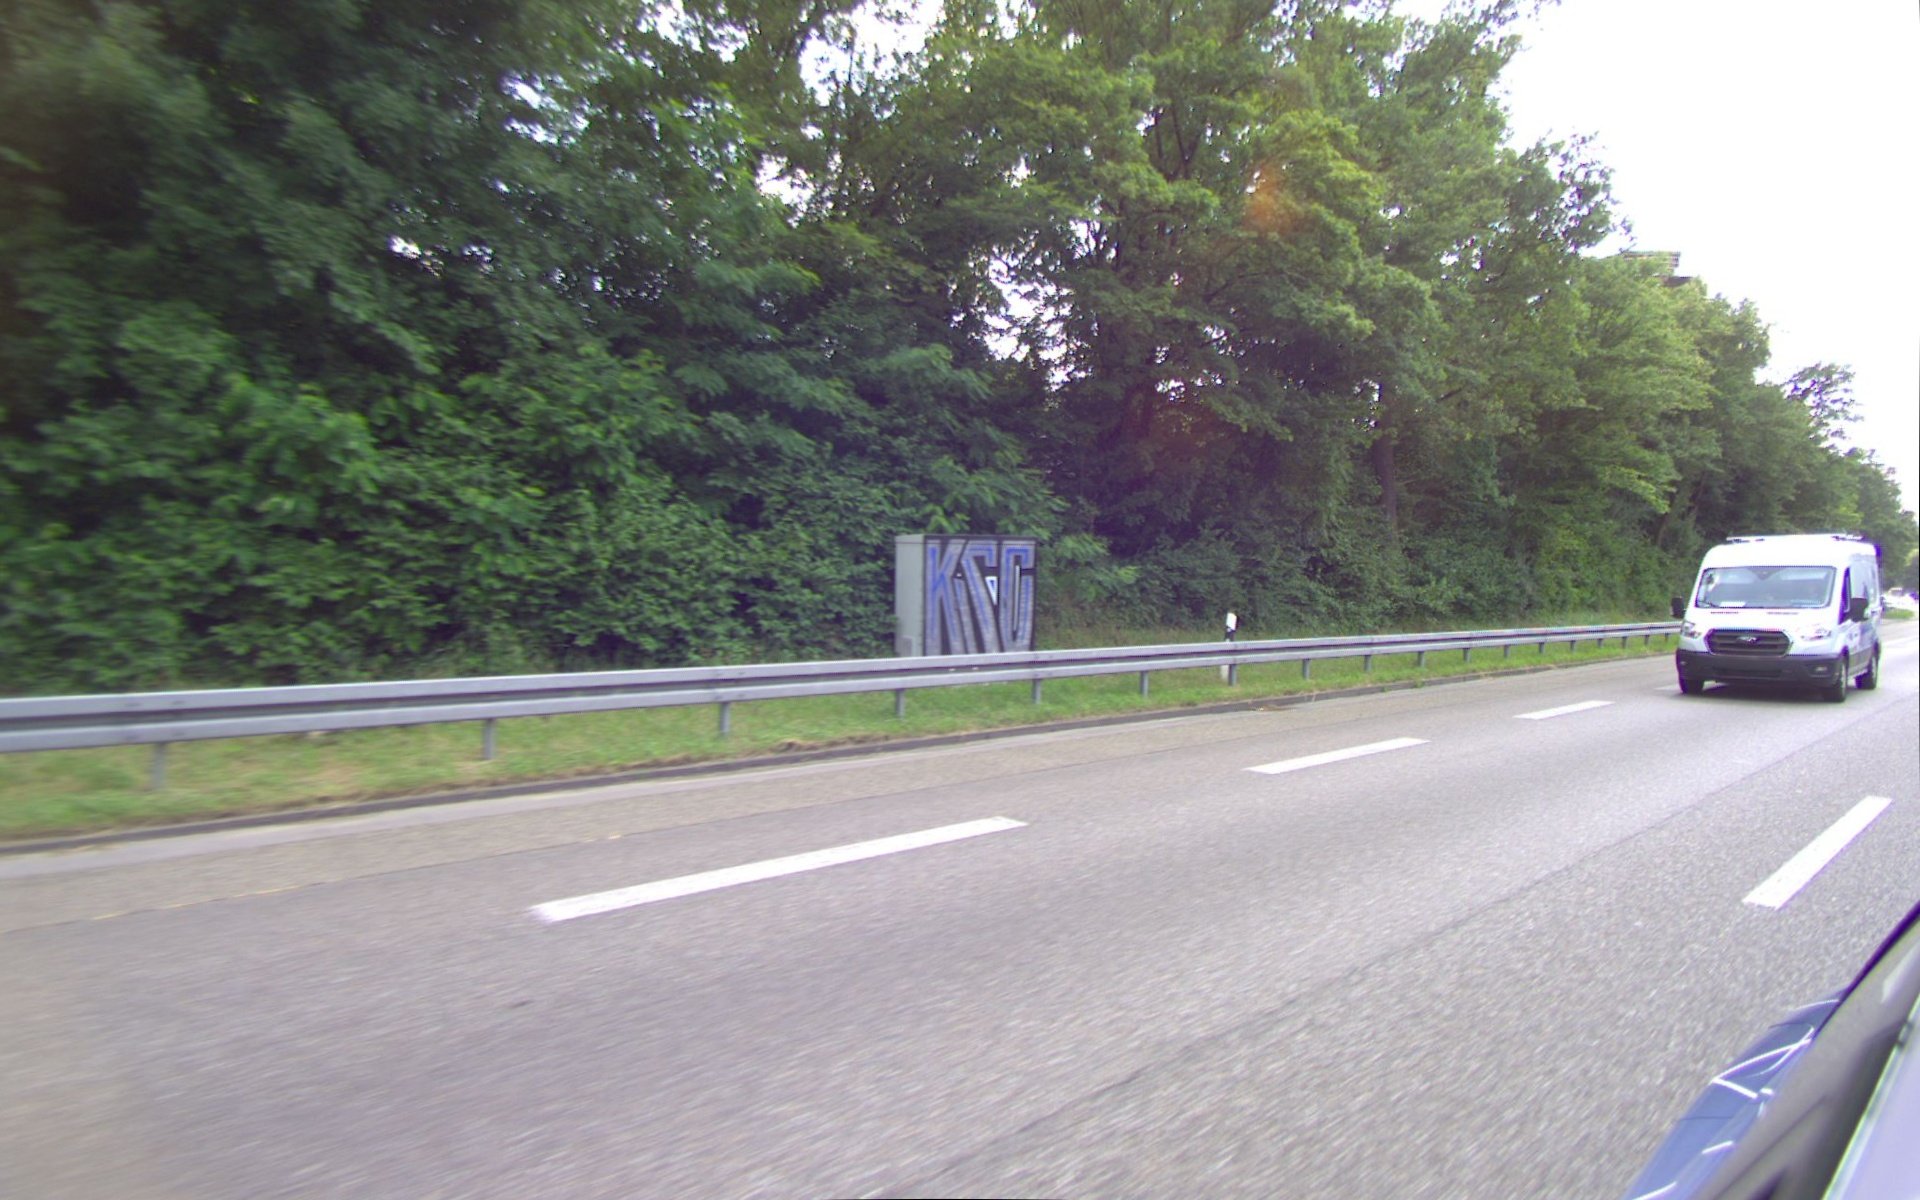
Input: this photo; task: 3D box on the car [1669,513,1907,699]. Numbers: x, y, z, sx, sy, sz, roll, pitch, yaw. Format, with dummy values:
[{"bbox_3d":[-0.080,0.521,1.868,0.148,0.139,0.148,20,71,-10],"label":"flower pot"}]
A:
[{"bbox_3d":[13.463,0.064,16.334,5.186,2.539,2.102,0,0,-41],"label":"car"}]
